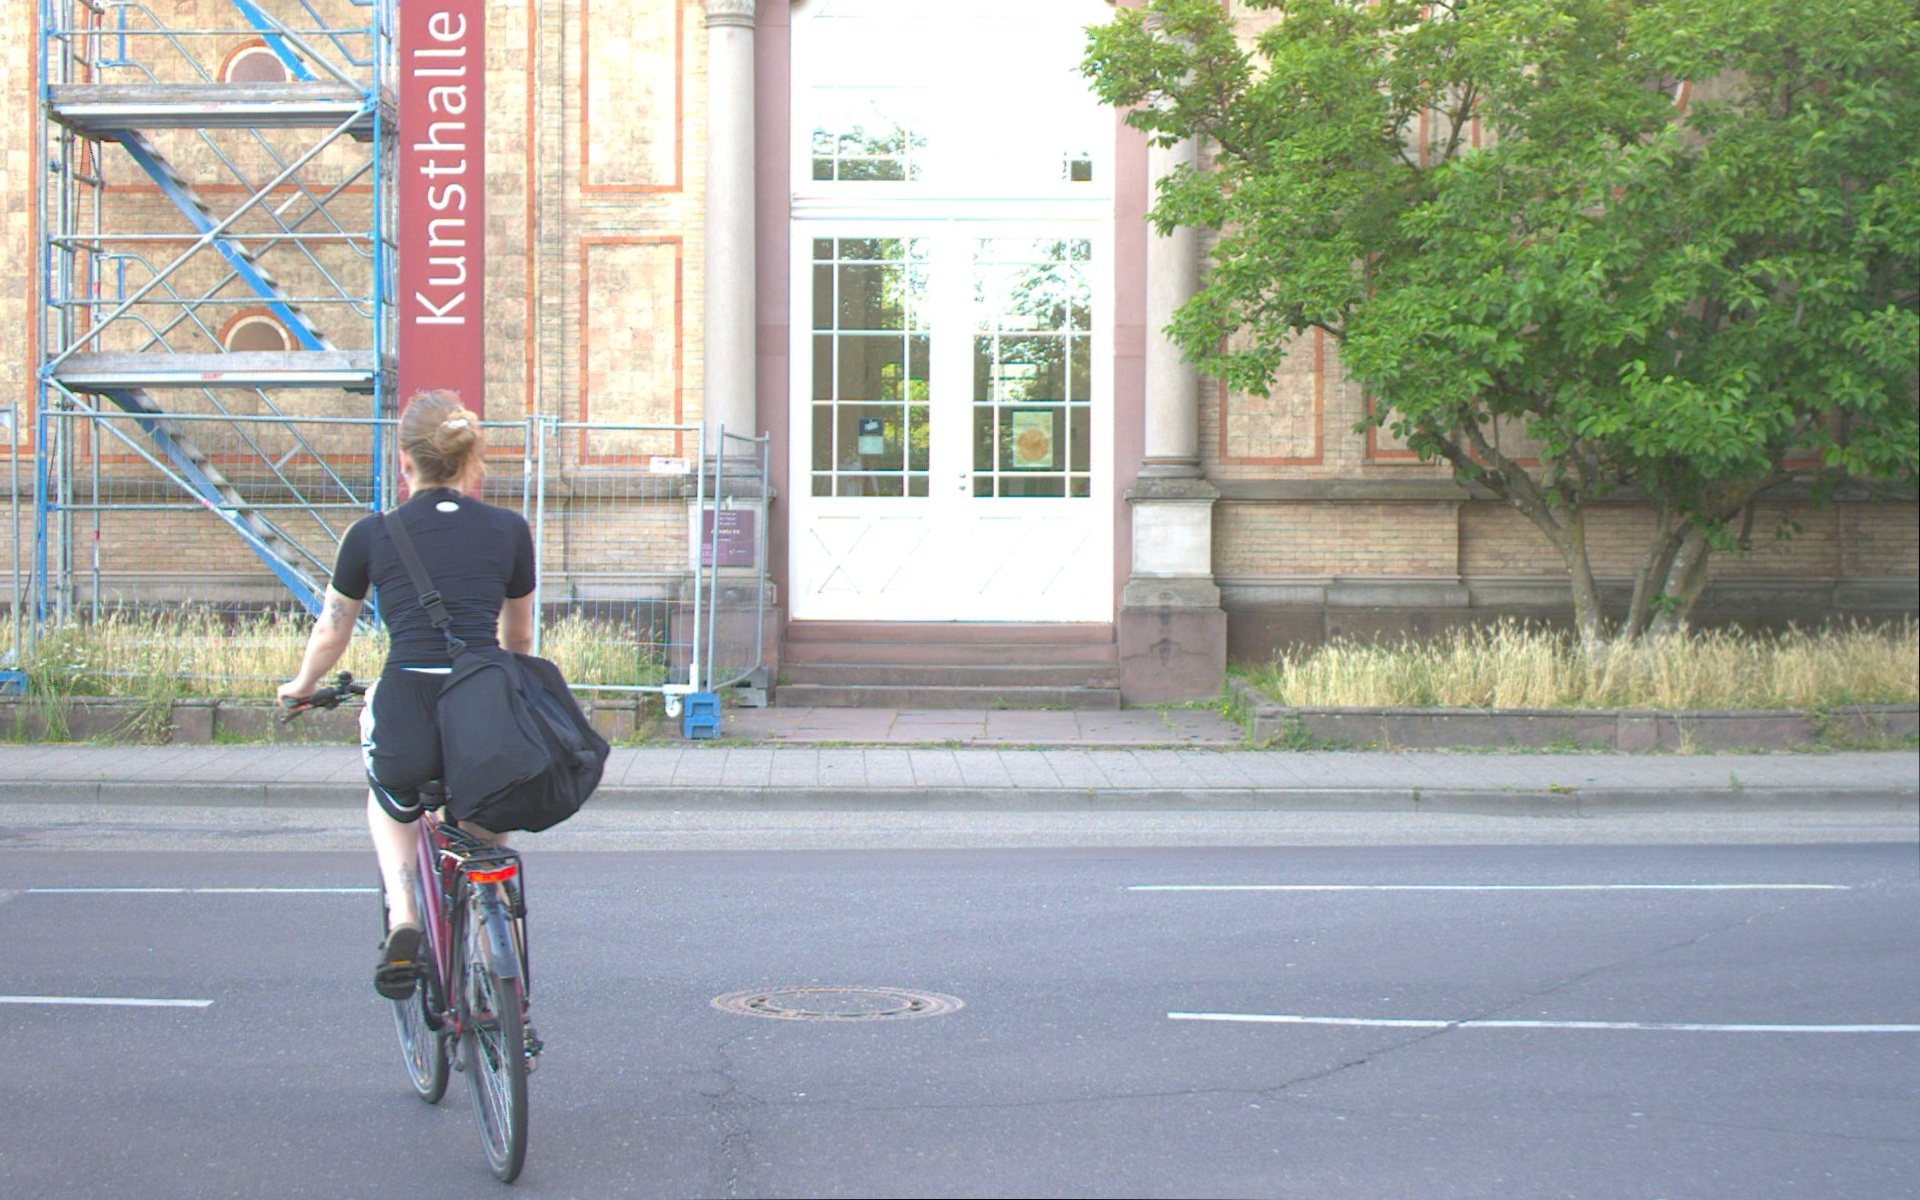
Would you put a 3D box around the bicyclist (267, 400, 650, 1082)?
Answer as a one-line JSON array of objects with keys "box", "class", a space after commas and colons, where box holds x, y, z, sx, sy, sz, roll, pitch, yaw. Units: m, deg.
[{"box": [-1.192, 0.315, 8.073, 0.716, 1.497, 0.851, 1, -1, -20], "class": "bicyclist"}]

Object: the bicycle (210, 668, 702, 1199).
[{"box": [-1.264, 0.752, 8.220, 0.711, 1.152, 2.069, 1, -1, -21], "class": "bicycle"}]
